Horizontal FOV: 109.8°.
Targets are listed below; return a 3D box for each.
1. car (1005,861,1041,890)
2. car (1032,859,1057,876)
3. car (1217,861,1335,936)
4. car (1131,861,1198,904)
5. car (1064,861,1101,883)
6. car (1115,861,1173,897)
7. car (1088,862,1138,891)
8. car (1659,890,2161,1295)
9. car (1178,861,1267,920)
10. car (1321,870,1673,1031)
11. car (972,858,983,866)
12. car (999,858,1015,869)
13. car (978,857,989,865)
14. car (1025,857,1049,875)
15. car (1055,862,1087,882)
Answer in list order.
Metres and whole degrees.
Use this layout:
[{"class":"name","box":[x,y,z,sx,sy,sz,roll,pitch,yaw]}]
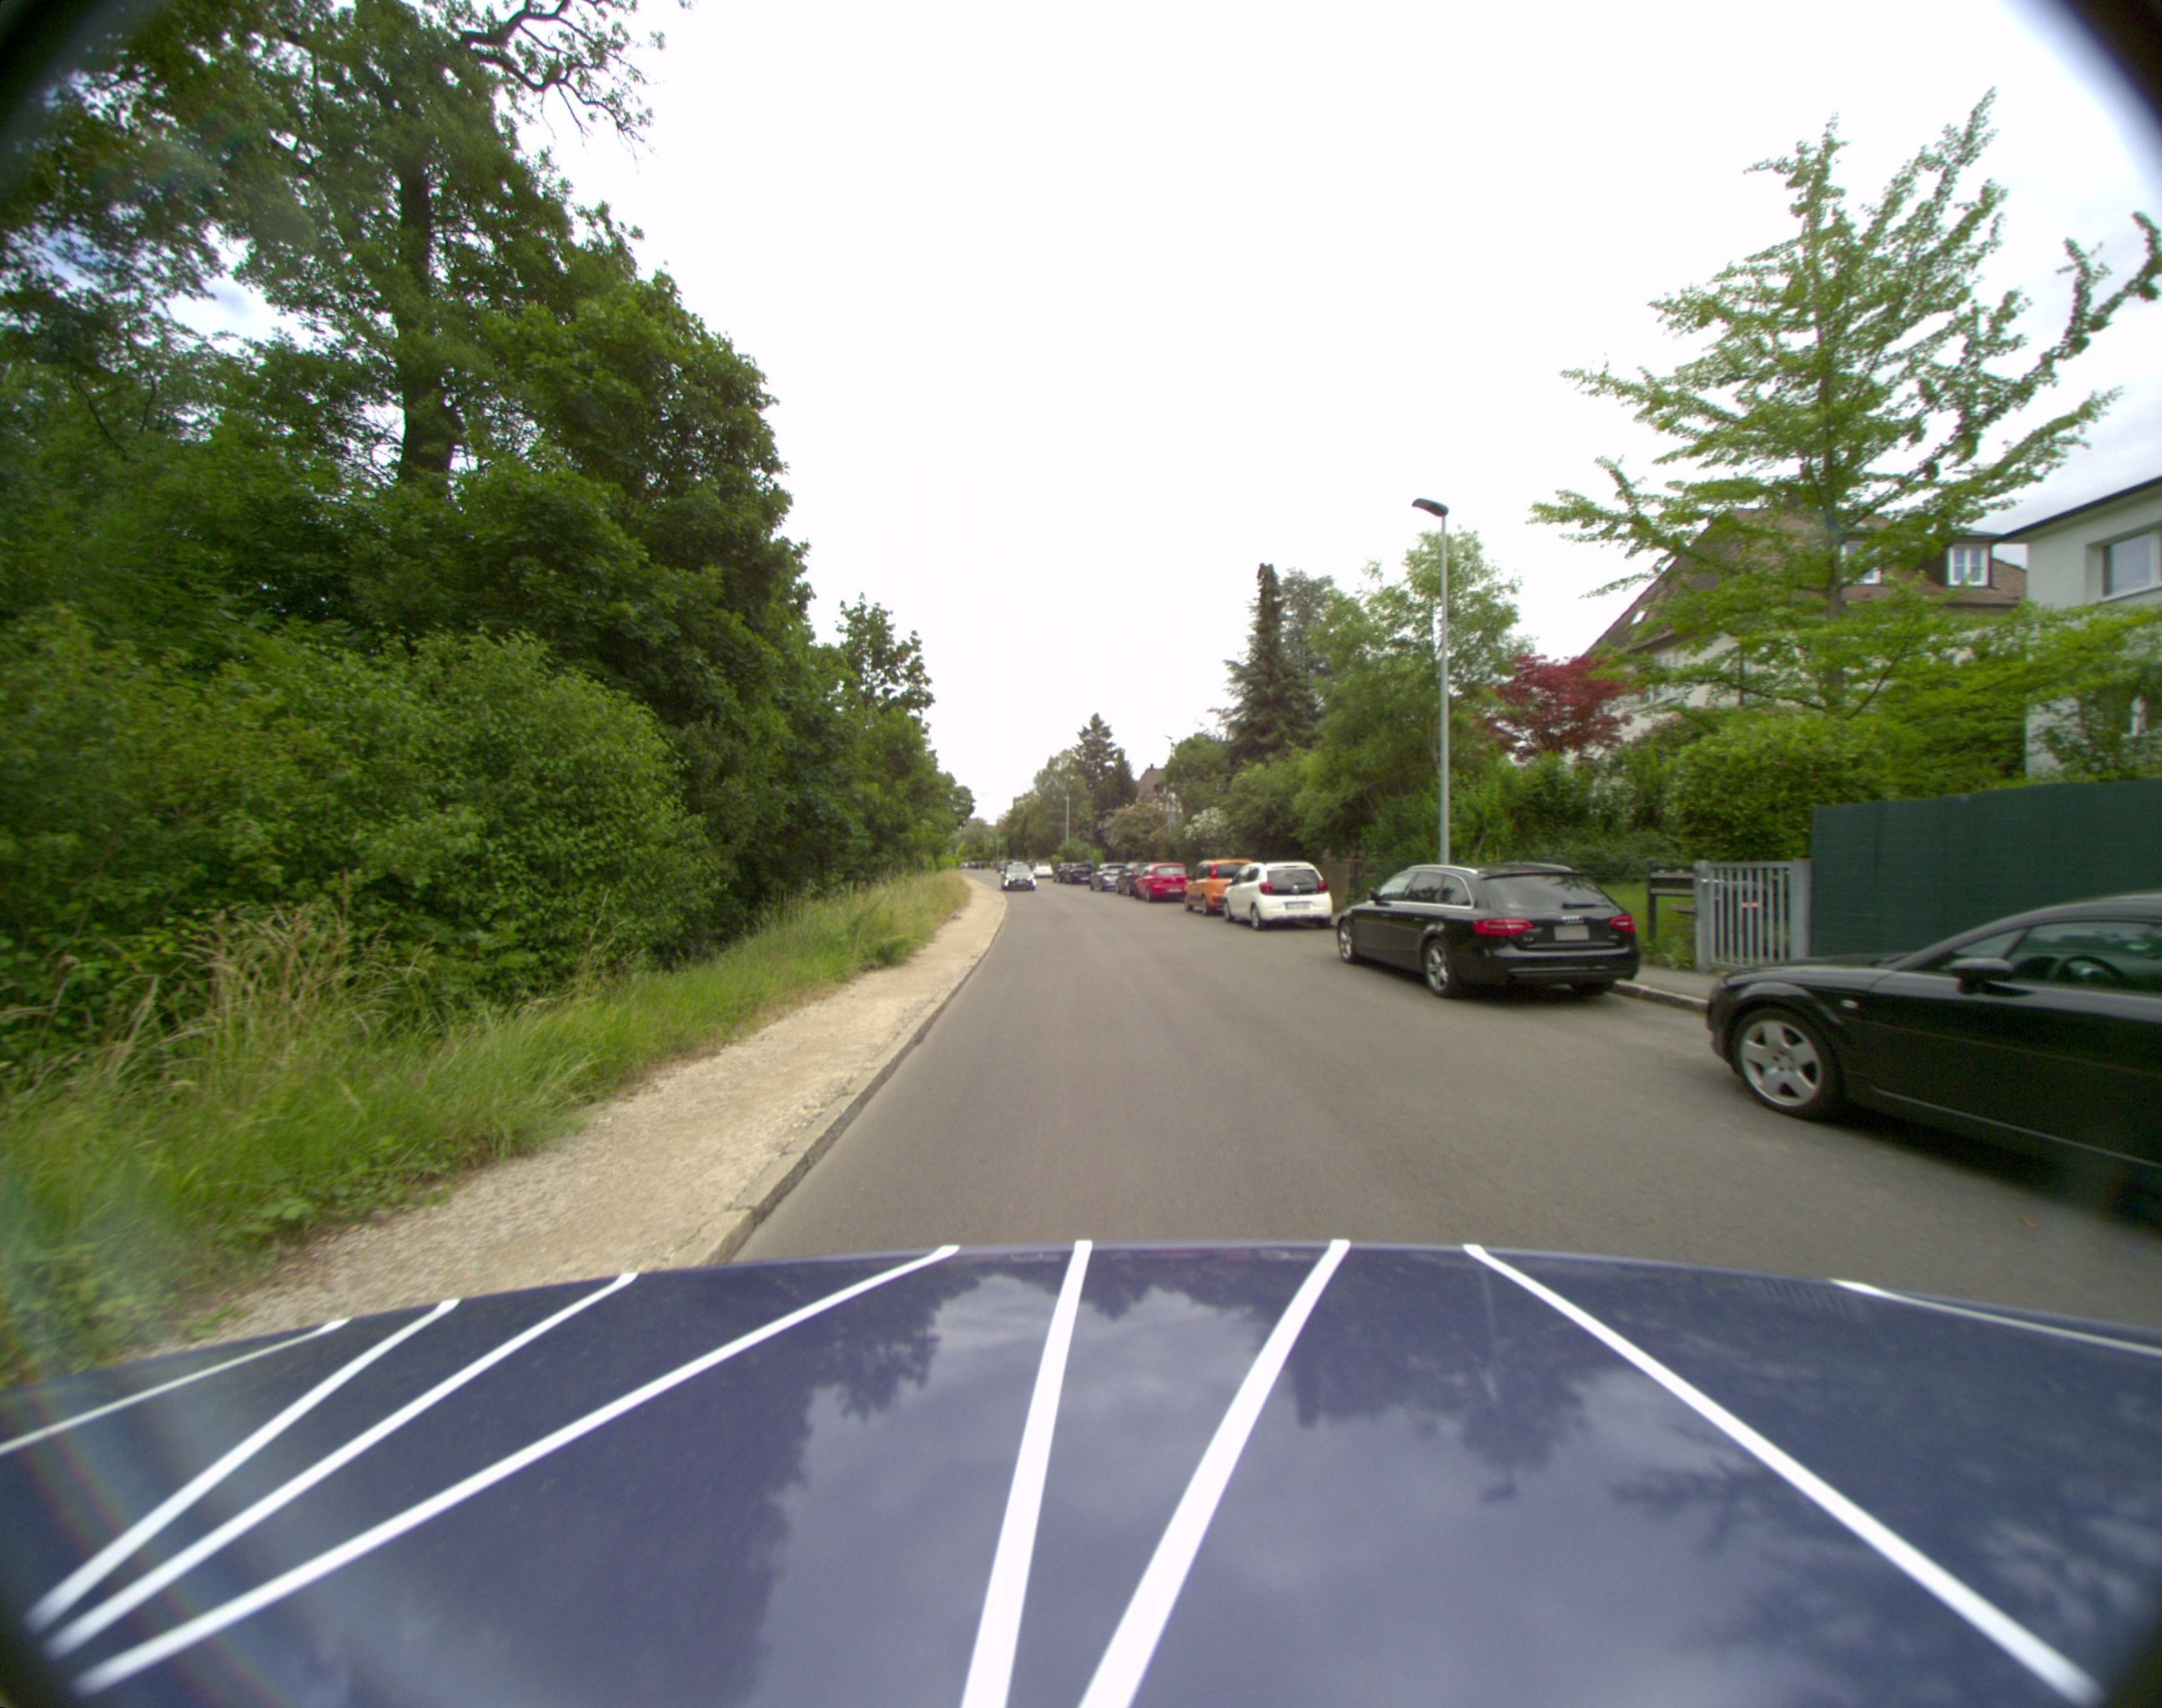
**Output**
[{"class":"car","box":[-3.331,1.175,43.021,1.712,1.466,4.192,-1,0,-9]},{"class":"car","box":[-3.438,1.213,70.871,1.713,1.502,3.942,-1,0,-10]},{"class":"car","box":[4.346,0.934,17.484,1.593,1.505,3.589,-1,0,-3]},{"class":"car","box":[3.184,1.047,29.737,1.712,1.505,4.361,-1,0,-5]},{"class":"car","box":[0.070,1.168,50.709,1.713,1.408,4.128,-1,0,-10]},{"class":"car","box":[2.783,1.086,34.596,1.712,1.505,4.492,-1,0,-7]},{"class":"car","box":[1.623,1.147,39.775,1.713,1.402,4.157,-1,0,-10]},{"class":"car","box":[4.787,0.924,3.035,1.716,1.333,4.107,-2,0,-2]},{"class":"car","box":[3.970,0.973,21.879,1.548,1.505,3.642,-1,0,-5]},{"class":"car","box":[4.558,0.934,9.313,1.723,1.376,4.663,-1,0,0]},{"class":"car","box":[-23.254,1.798,169.882,1.925,1.670,4.190,-1,0,-15]},{"class":"car","box":[-10.668,1.371,109.126,1.802,1.597,4.726,-1,0,-10]},{"class":"car","box":[-20.485,1.541,159.556,1.924,1.670,4.191,-1,0,-10]},{"class":"car","box":[-4.370,1.169,75.234,1.798,1.654,4.387,-1,0,-10]},{"class":"car","box":[-0.769,1.290,56.091,1.713,1.408,4.145,-1,0,-10]}]
